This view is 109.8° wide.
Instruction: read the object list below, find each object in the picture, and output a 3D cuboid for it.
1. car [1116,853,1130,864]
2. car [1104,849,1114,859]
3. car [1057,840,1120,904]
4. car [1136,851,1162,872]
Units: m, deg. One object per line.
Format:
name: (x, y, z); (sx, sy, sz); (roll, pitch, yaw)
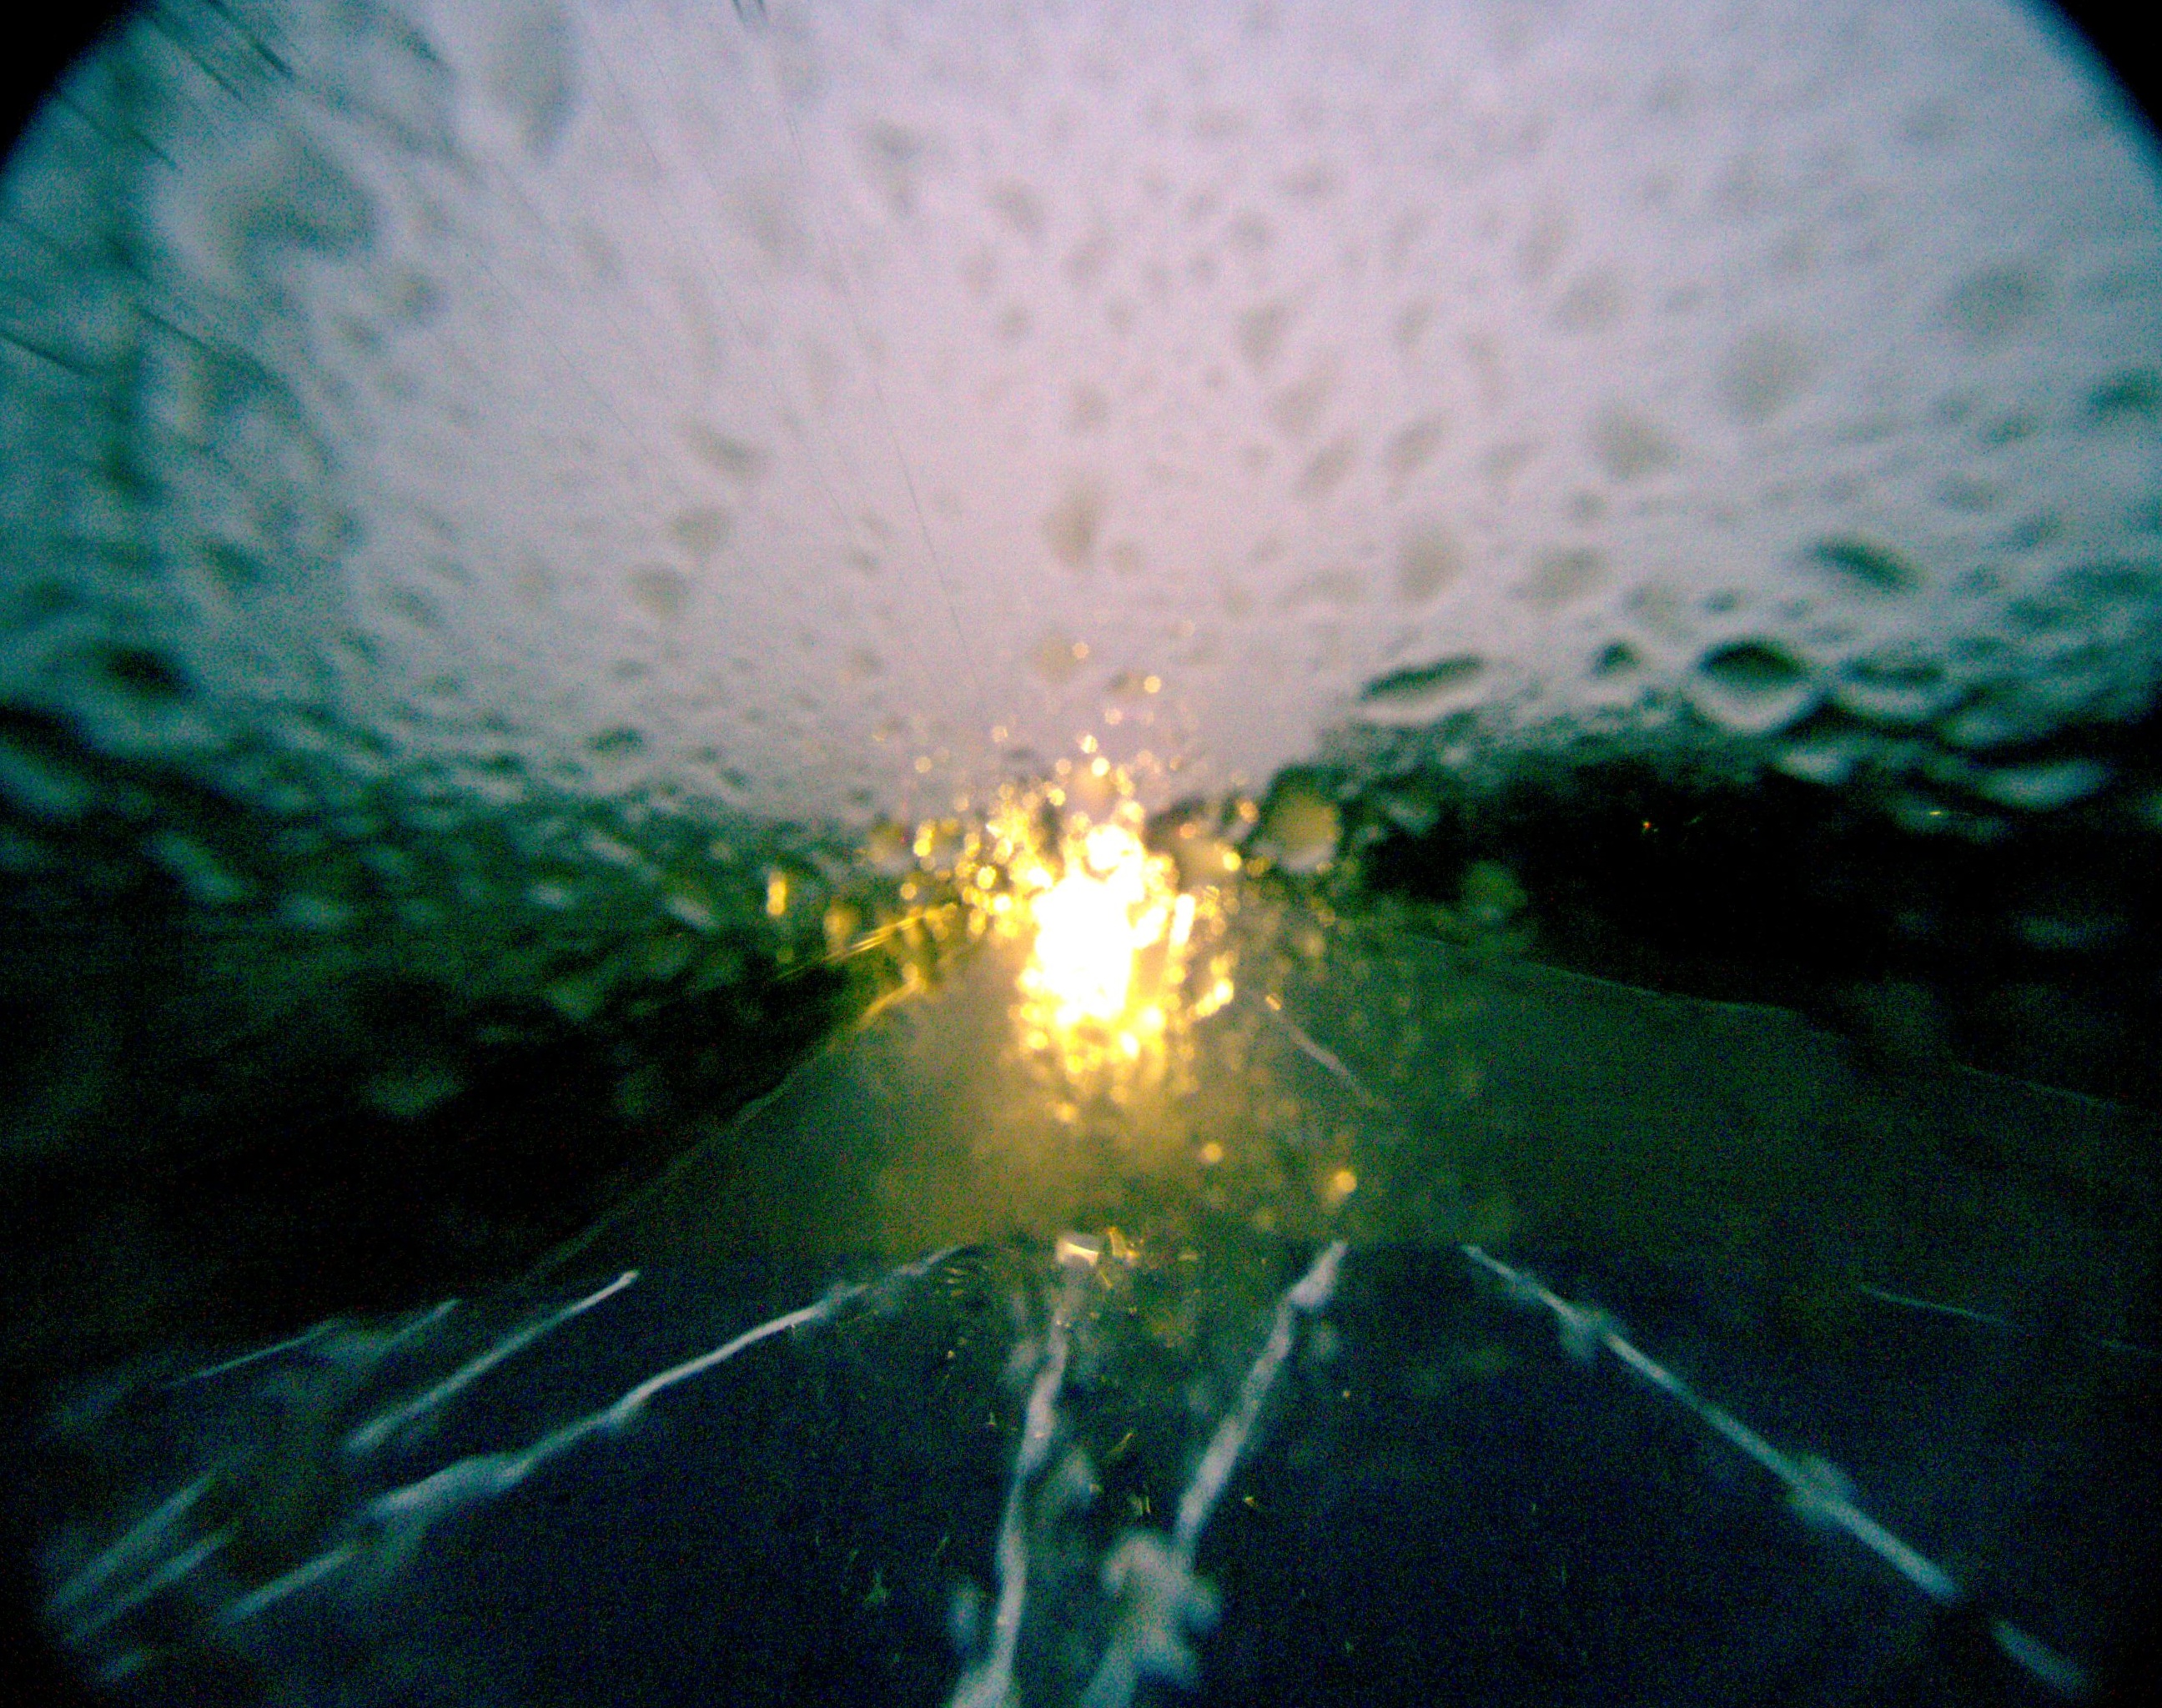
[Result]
car: (5.504, 0.576, 99.646); (1.649, 1.455, 3.872); (-2, 0, 1)
car: (6.155, -0.002, 169.062); (1.998, 2.002, 4.654); (-1, 1, 0)
car: (0.176, 0.551, 26.328); (1.857, 2.002, 3.998); (-2, 1, -3)
car: (5.336, 0.569, 59.725); (1.739, 1.604, 4.212); (-2, 0, 2)
